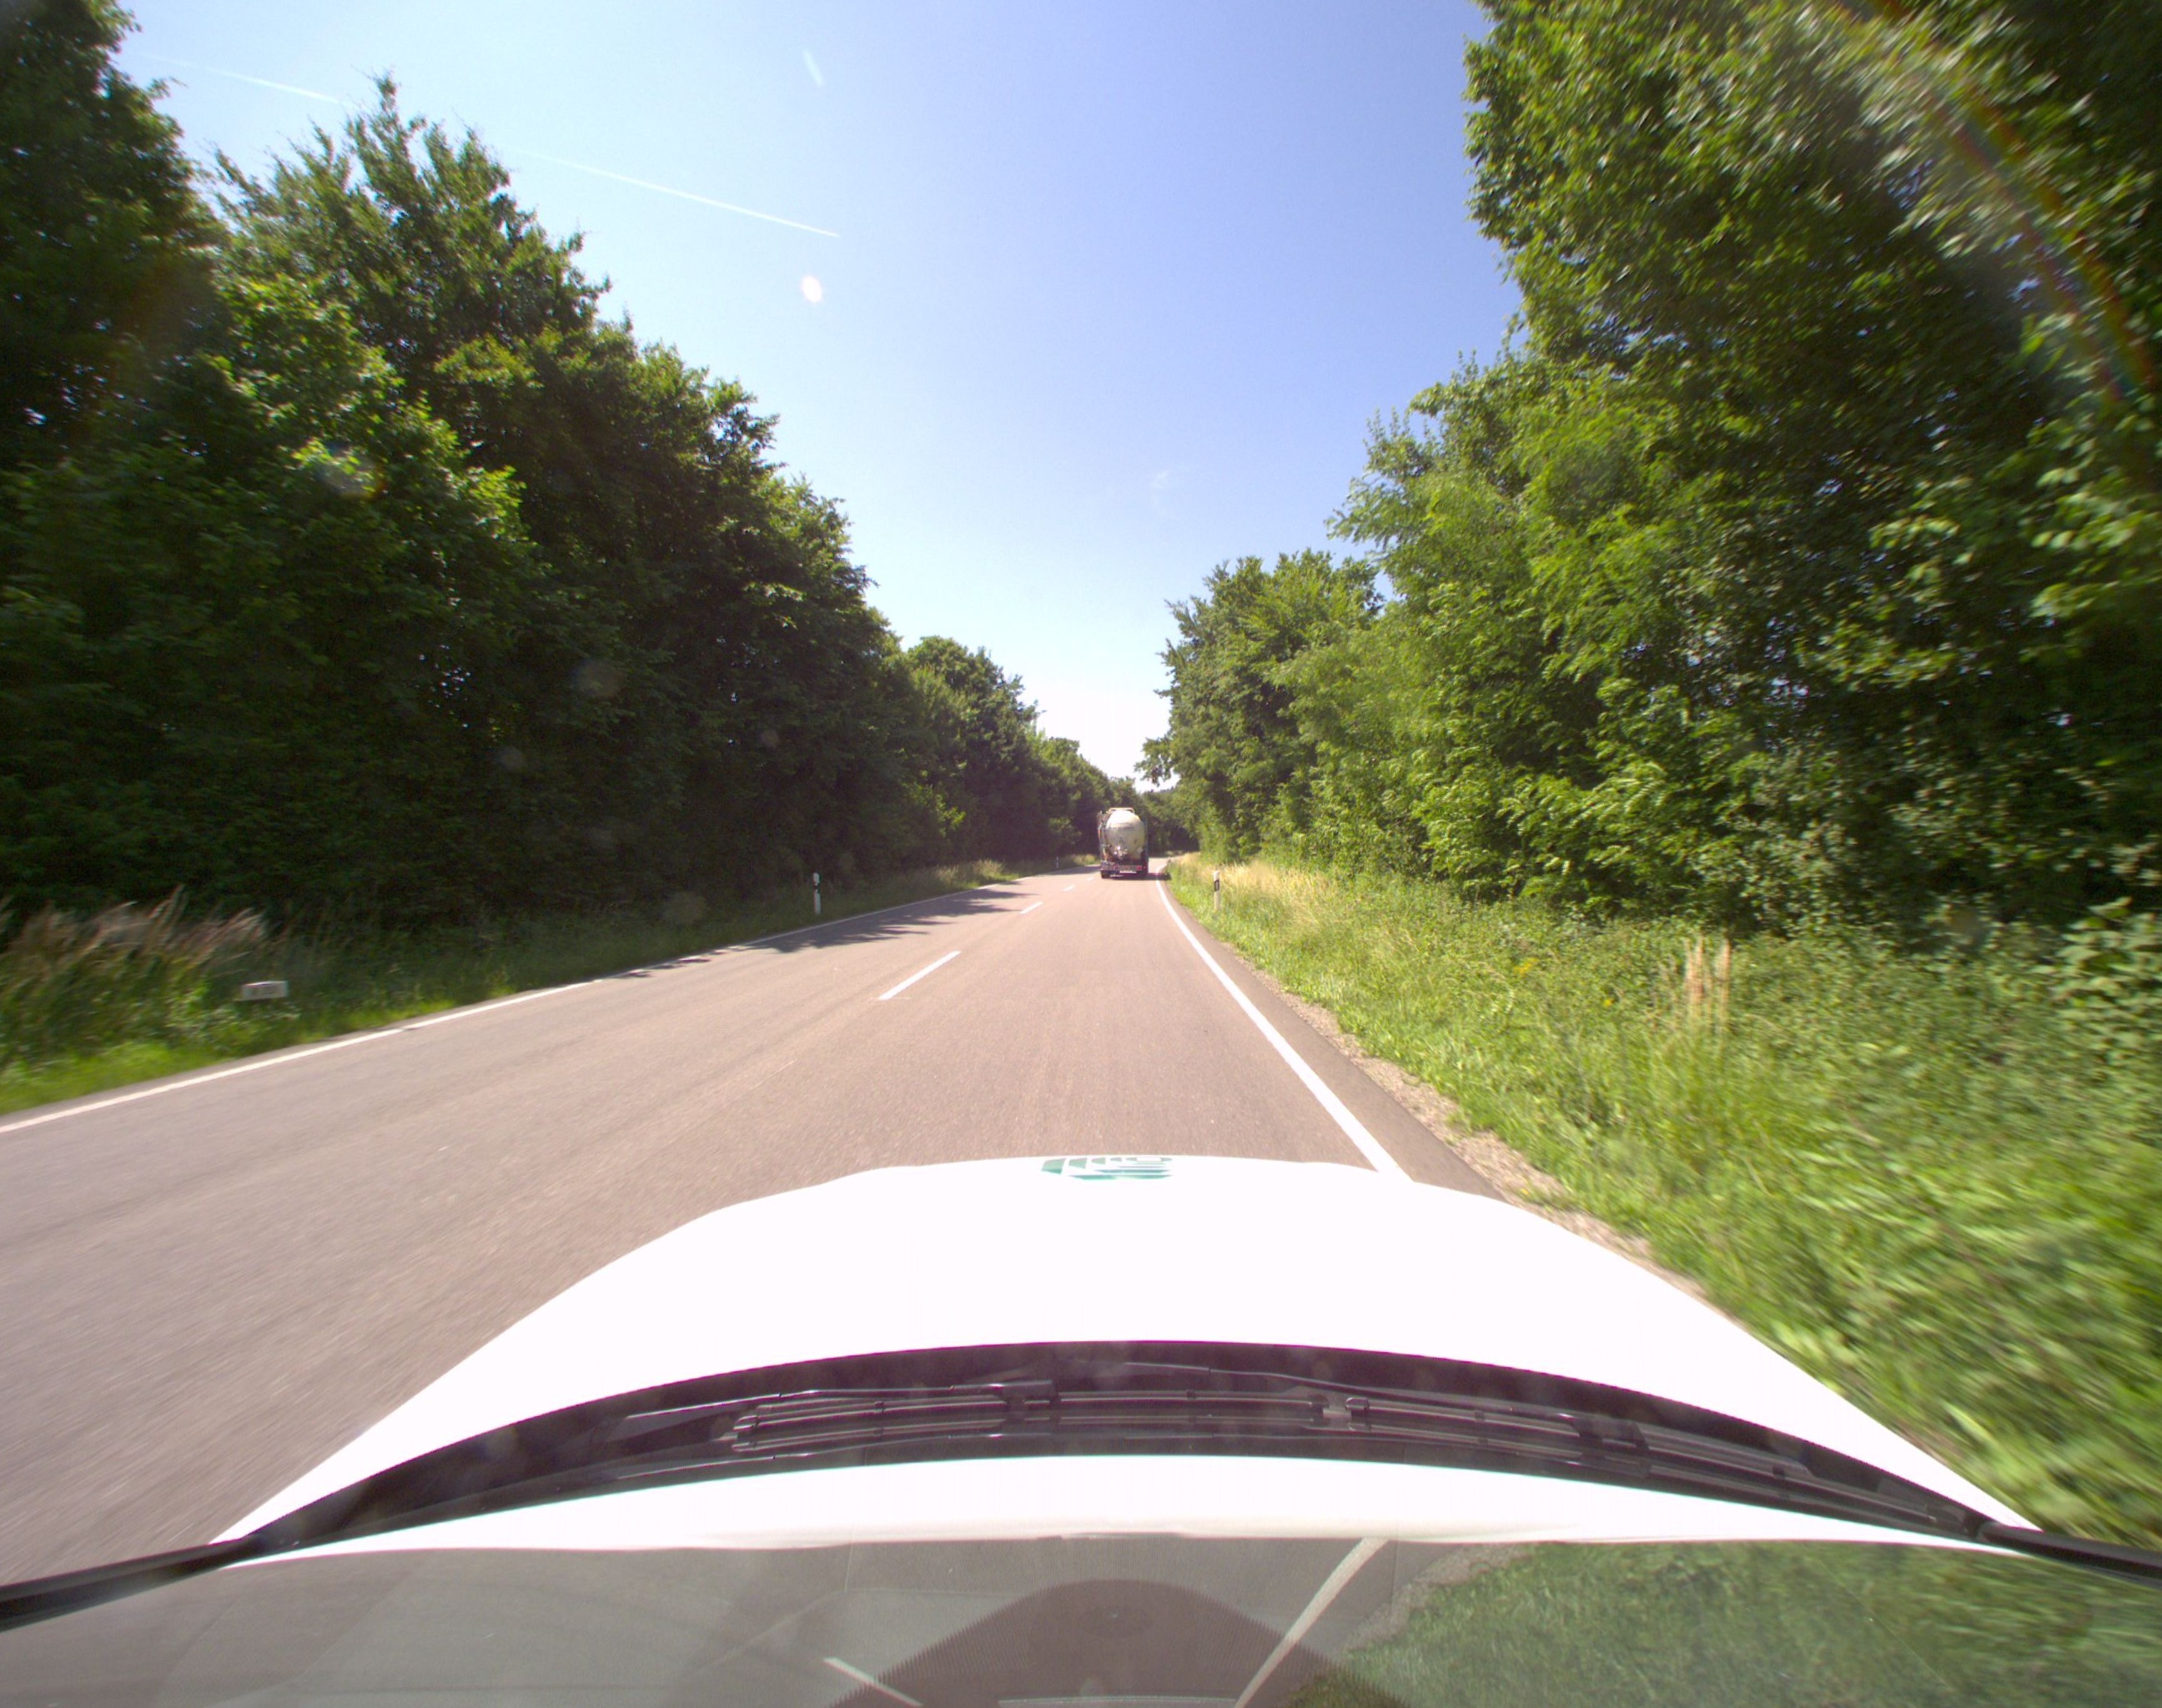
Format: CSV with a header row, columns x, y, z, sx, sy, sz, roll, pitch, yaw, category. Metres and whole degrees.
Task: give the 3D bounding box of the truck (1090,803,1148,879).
x,y,z,sx,sy,sz,roll,pitch,yaw,category
2.668,-0.757,51.276,3.035,3.998,15.657,-1,0,5,truck
